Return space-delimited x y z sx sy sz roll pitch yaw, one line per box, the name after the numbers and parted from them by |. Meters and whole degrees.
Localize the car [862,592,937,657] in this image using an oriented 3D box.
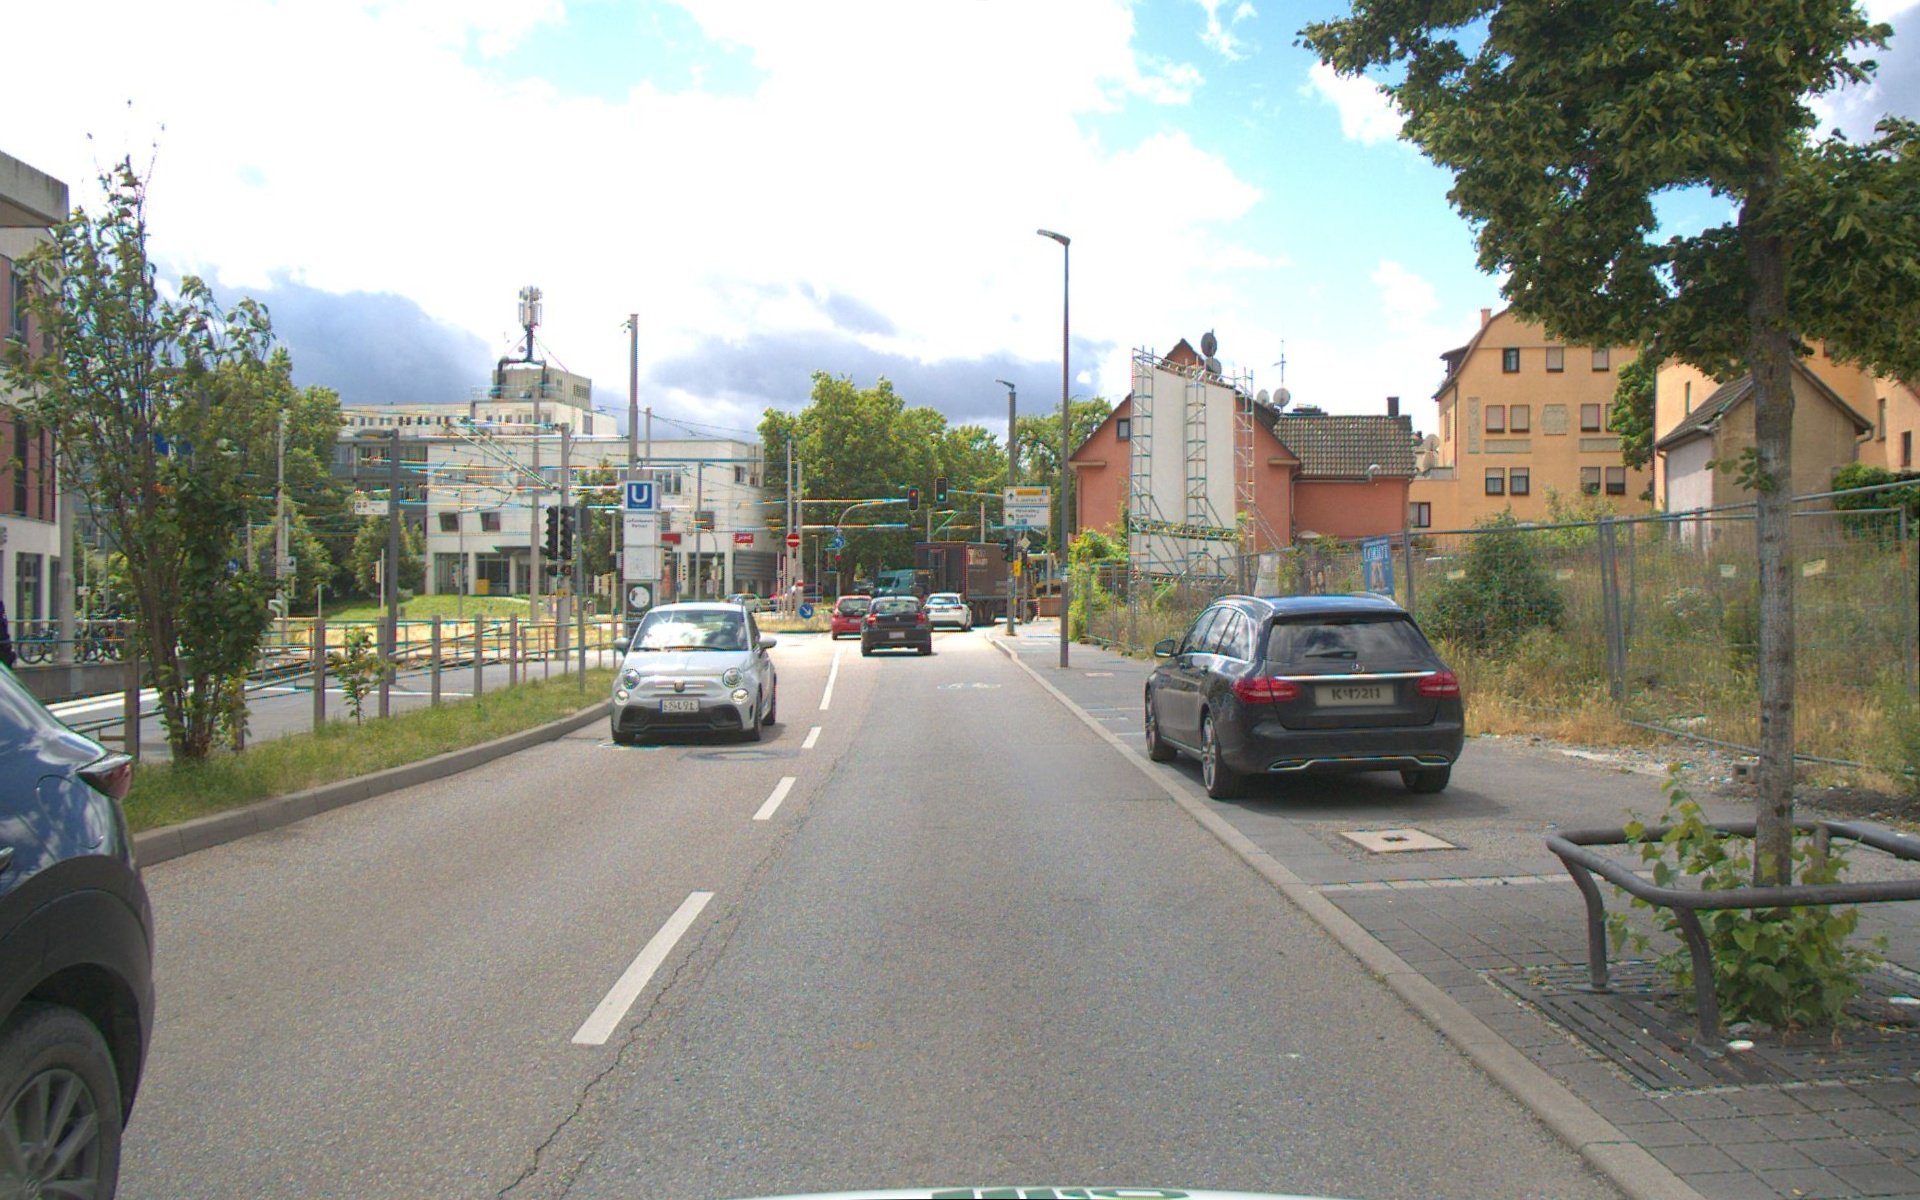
-1.541 0.564 41.042 1.692 1.482 3.805 0 1 -5 | car

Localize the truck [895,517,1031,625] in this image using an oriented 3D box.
0.277 -1.219 76.705 3.137 4.615 9.027 1 -1 22 | truck

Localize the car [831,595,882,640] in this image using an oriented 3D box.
-3.532 0.577 56.181 1.678 1.418 3.805 0 1 -4 | car

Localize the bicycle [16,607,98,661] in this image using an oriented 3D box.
-19.708 0.745 36.100 1.535 1.120 0.408 -2 -2 -3 | bicycle

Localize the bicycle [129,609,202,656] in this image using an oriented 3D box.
-19.793 0.808 41.203 1.535 1.120 0.514 -2 -2 -3 | bicycle

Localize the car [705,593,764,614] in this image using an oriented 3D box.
-16.163 0.261 118.646 1.962 1.489 3.981 0 0 38 | car

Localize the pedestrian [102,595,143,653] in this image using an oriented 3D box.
-23.587 0.692 46.592 0.838 1.599 0.856 2 -2 -17 | pedestrian

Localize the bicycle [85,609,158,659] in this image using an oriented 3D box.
-19.747 0.802 38.974 1.477 1.120 0.408 -2 -2 -3 | bicycle

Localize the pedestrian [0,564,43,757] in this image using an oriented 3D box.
-9.647 0.585 16.529 0.724 1.877 0.779 1 1 -22 | pedestrian

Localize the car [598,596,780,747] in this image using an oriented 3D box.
-3.047 0.743 19.296 1.736 1.534 3.997 -1 0 -4 | car

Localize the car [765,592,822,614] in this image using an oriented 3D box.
-12.443 0.209 123.882 1.961 1.628 4.181 0 1 38 | car

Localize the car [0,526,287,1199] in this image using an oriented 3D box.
-2.455 0.614 1.827 1.690 1.548 4.253 2 0 -1 | car

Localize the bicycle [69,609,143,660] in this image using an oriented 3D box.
-19.730 0.791 38.220 1.477 1.120 0.408 -2 -2 -3 | bicycle

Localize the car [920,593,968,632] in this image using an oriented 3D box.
-0.605 0.506 65.859 1.849 1.491 4.069 -1 -1 0 | car

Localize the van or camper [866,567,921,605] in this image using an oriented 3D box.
-5.477 -1.117 136.946 2.131 2.854 6.067 1 -2 22 | van or camper

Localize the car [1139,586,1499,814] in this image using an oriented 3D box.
2.652 0.655 13.326 1.746 1.477 4.474 -1 0 -2 | car
